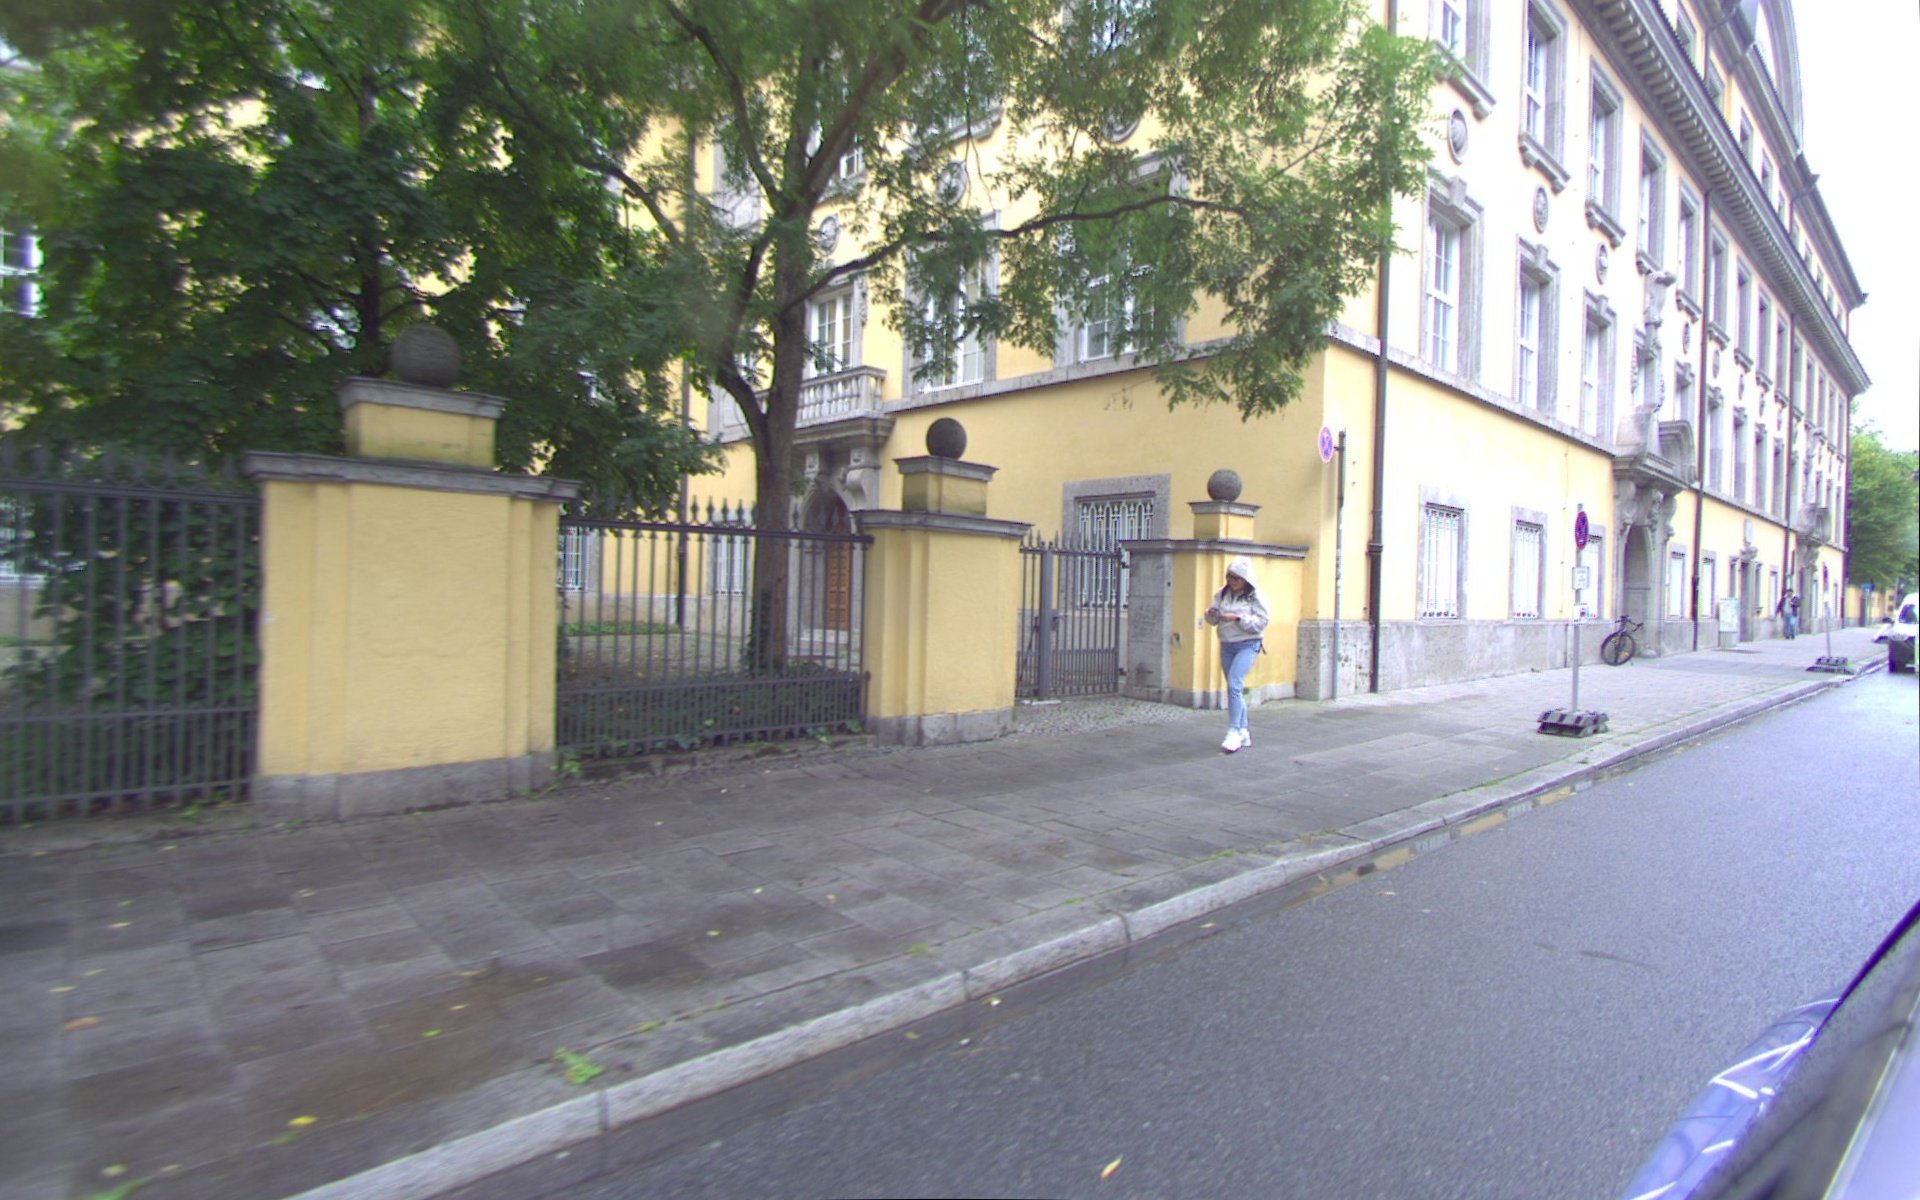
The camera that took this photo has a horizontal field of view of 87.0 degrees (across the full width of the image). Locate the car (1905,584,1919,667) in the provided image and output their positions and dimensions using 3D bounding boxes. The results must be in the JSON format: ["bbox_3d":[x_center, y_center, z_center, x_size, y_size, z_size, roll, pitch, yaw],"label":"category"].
[{"bbox_3d":[22.883,0.555,23.087,4.285,1.771,1.741,-1,2,-45],"label":"car"}]

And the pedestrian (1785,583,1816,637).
[{"bbox_3d":[29.341,0.336,35.316,0.573,1.826,0.701,-1,3,-44],"label":"pedestrian"}]

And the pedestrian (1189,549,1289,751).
[{"bbox_3d":[2.415,0.404,8.769,0.562,1.658,0.561,0,3,-43],"label":"pedestrian"}]

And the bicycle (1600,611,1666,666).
[{"bbox_3d":[13.770,0.756,20.680,2.023,1.019,0.681,0,2,-44],"label":"bicycle"}]
